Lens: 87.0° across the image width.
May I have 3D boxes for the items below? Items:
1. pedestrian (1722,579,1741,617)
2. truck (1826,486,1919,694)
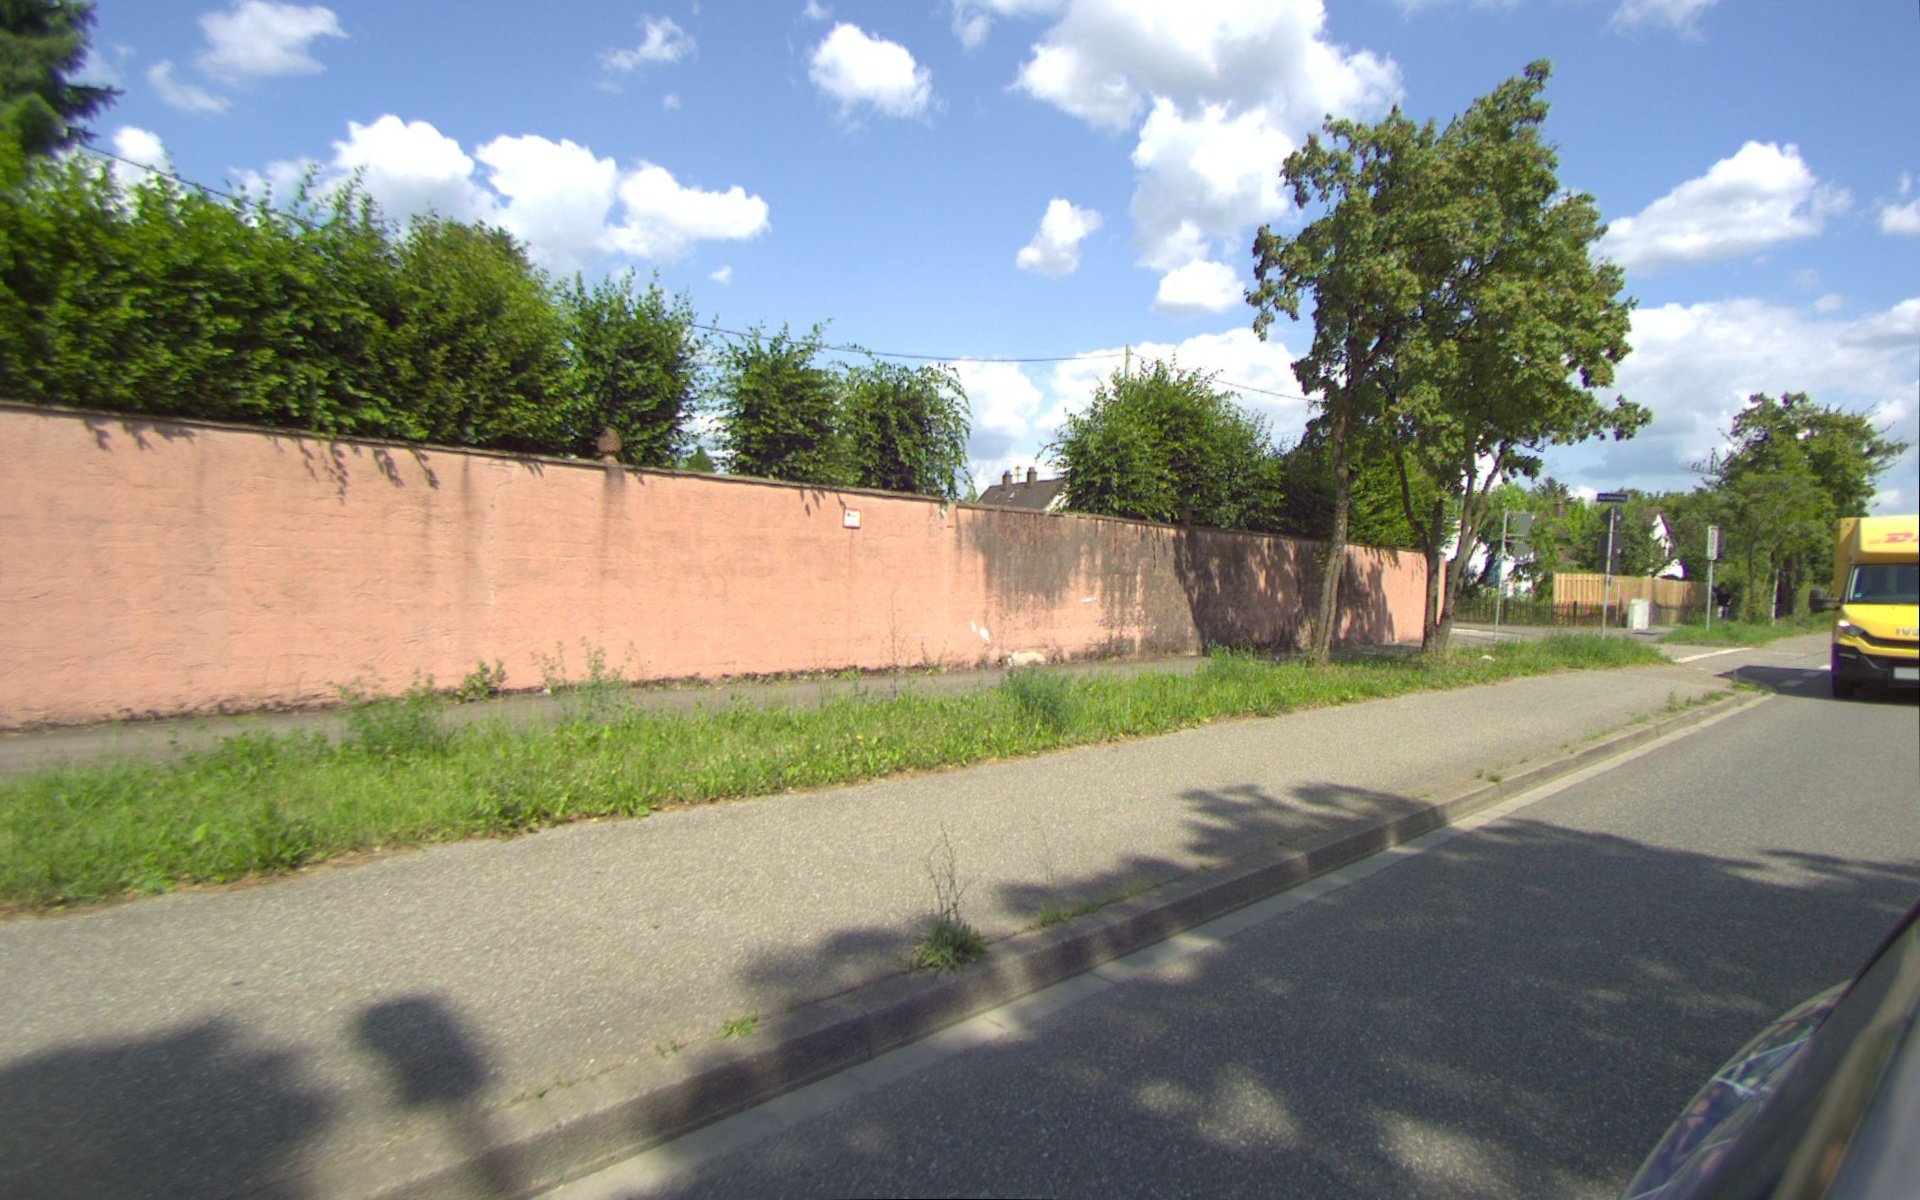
[{"bbox_3d":[34.952,-0.091,45.866,0.624,1.698,0.560,1,1,-44],"label":"pedestrian"},{"bbox_3d":[16.400,-0.081,16.875,7.894,2.917,2.266,1,0,-44],"label":"truck"}]
